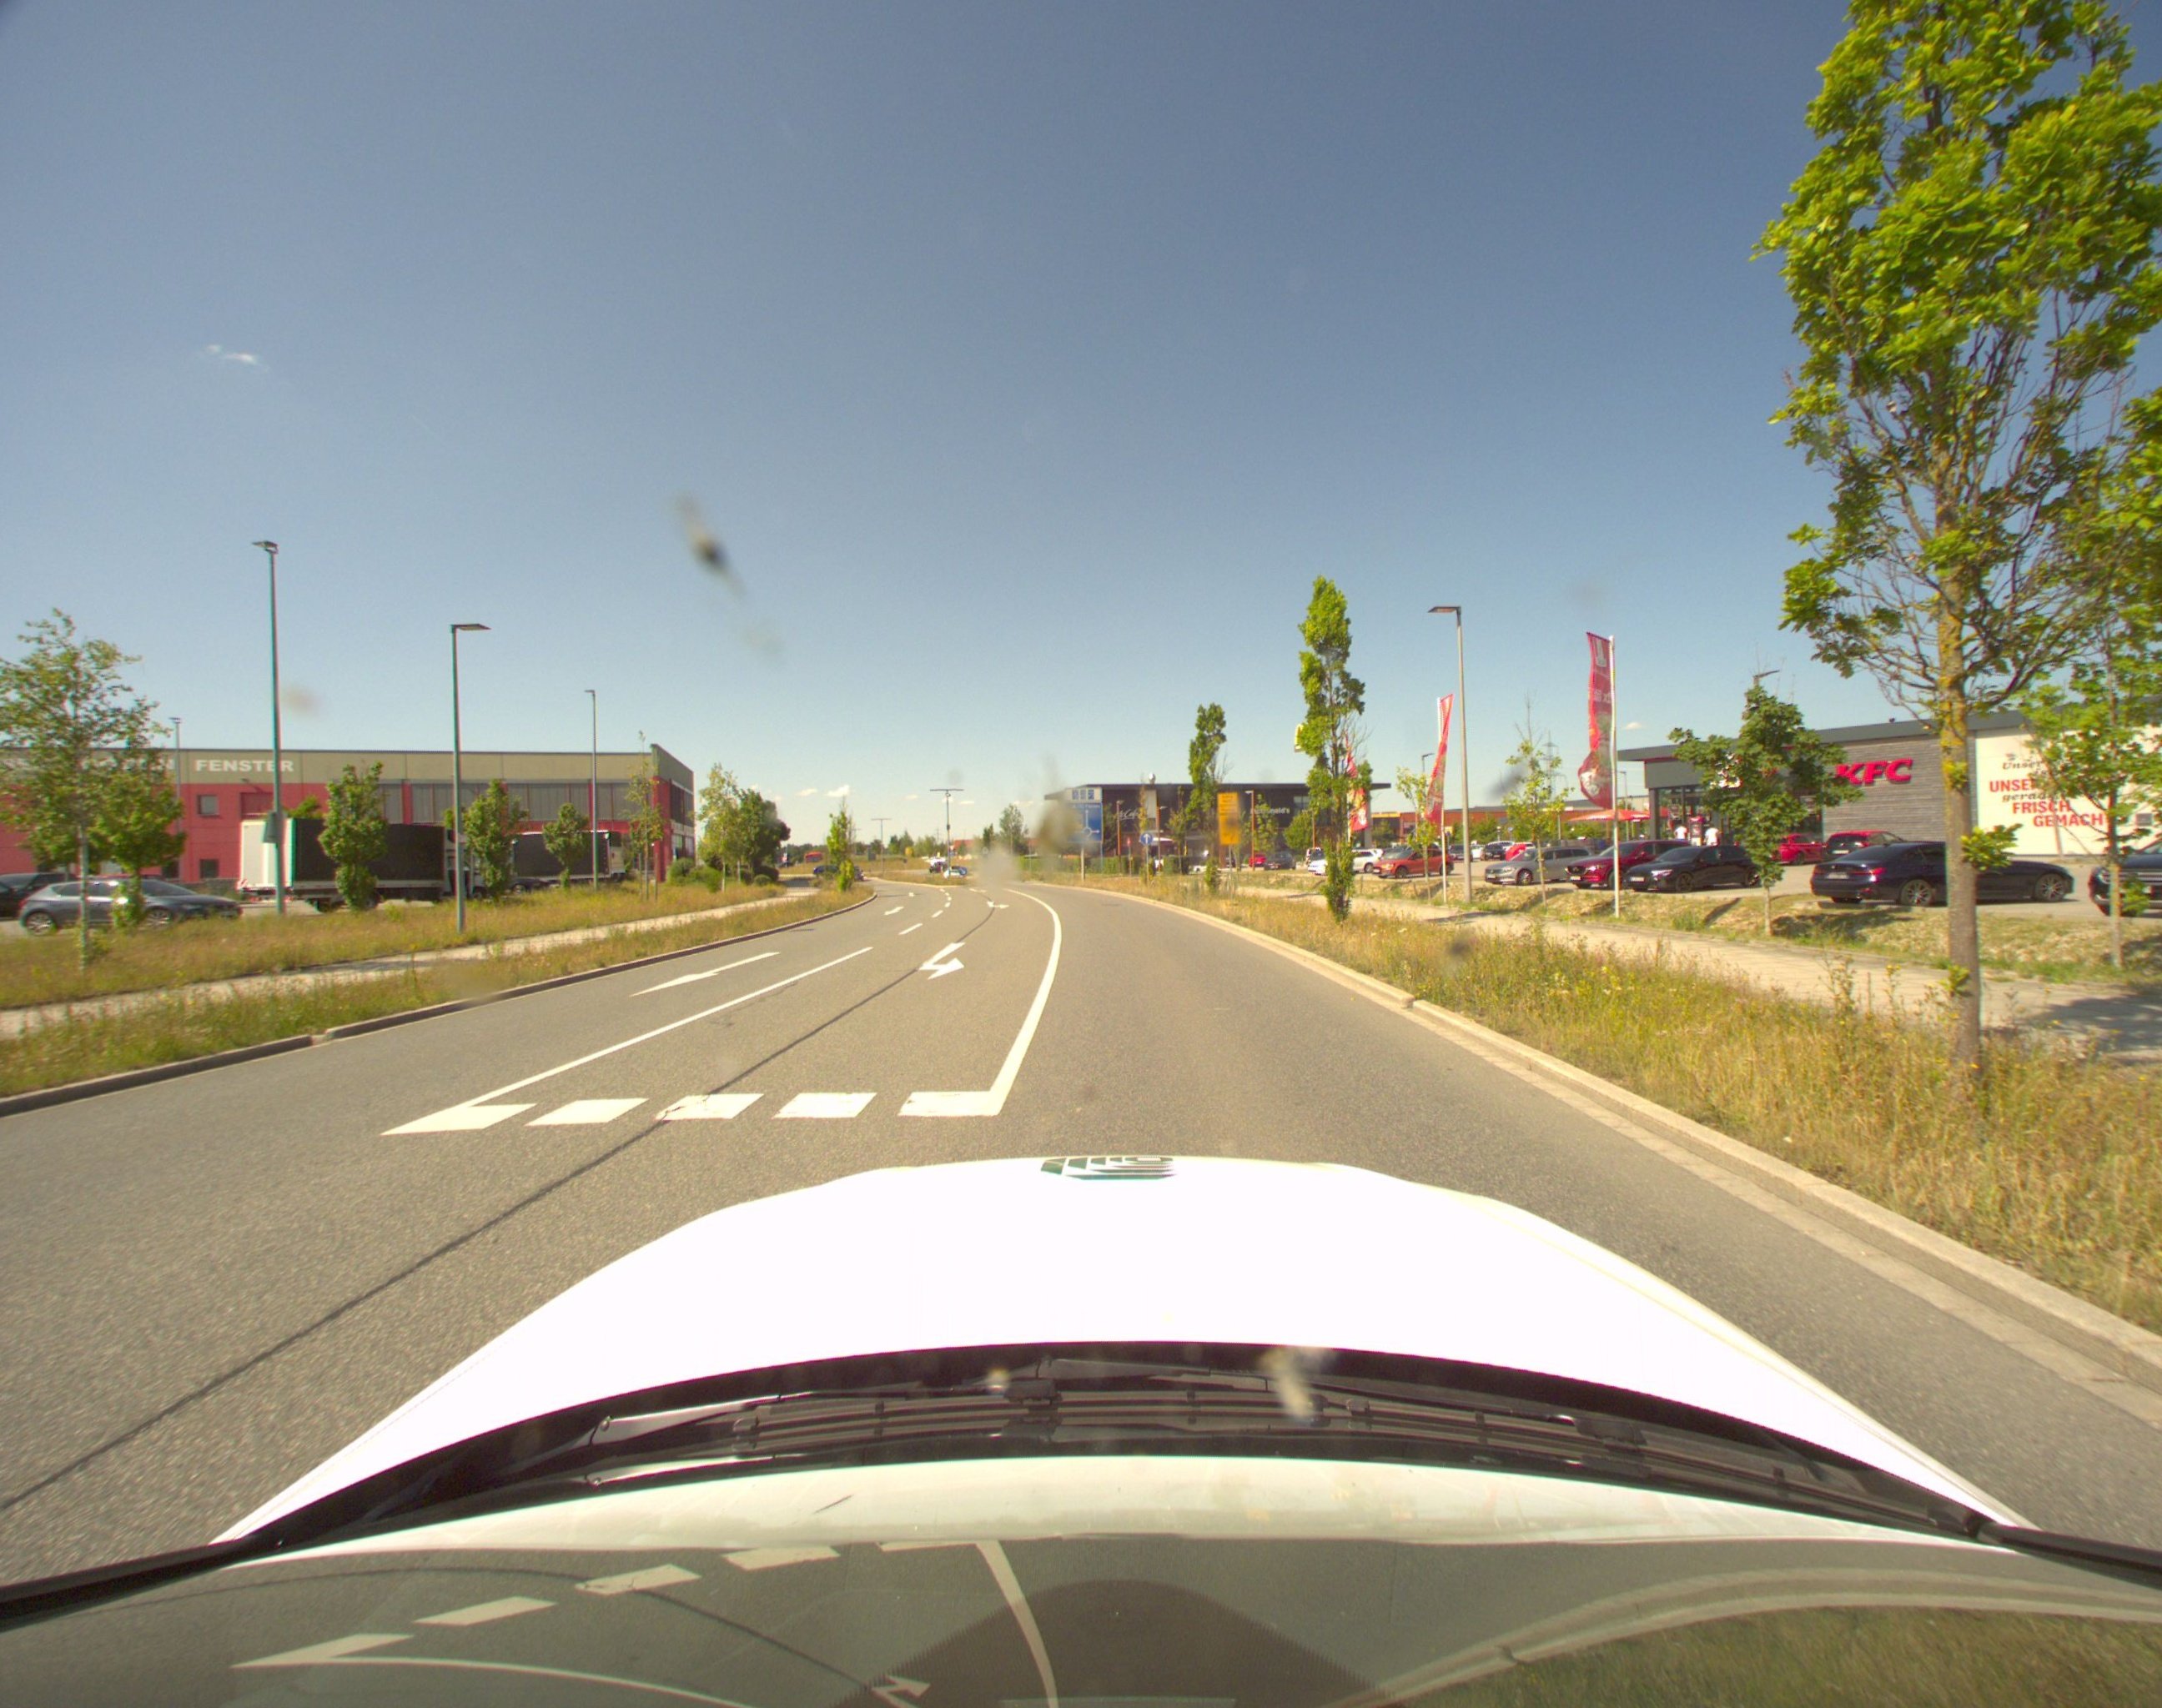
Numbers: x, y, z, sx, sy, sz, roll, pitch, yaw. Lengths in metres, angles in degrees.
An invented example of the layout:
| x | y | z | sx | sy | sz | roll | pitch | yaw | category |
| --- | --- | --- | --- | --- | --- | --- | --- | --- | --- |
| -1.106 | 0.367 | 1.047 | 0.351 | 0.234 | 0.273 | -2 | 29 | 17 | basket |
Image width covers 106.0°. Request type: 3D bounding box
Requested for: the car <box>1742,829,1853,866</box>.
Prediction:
| x | y | z | sx | sy | sz | roll | pitch | yaw | category |
| --- | --- | --- | --- | --- | --- | --- | --- | --- | --- |
| 32.787 | -0.307 | 37.274 | 4.571 | 1.431 | 1.856 | -3 | 0 | -20 | car |

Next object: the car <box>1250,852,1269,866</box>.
| x | y | z | sx | sy | sz | roll | pitch | yaw | category |
| --- | --- | --- | --- | --- | --- | --- | --- | --- | --- |
| 18.761 | 0.494 | 85.775 | 1.781 | 1.434 | 4.013 | -2 | 0 | 11 | car |

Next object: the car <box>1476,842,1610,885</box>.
| x | y | z | sx | sy | sz | roll | pitch | yaw | category |
| --- | --- | --- | --- | --- | --- | --- | --- | --- | --- |
| 18.846 | 0.354 | 33.289 | 4.554 | 1.490 | 1.863 | -3 | 0 | -9 | car |

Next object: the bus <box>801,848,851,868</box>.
| x | y | z | sx | sy | sz | roll | pitch | yaw | category |
| --- | --- | --- | --- | --- | --- | --- | --- | --- | --- |
| -45.067 | 0.631 | 144.404 | 2.768 | 3.078 | 12.245 | -2 | 2 | 12 | bus |

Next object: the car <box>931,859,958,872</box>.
| x | y | z | sx | sy | sz | roll | pitch | yaw | category |
| --- | --- | --- | --- | --- | --- | --- | --- | --- | --- |
| -22.821 | 1.891 | 136.119 | 3.969 | 2.014 | 1.836 | -2 | -1 | 4 | car |

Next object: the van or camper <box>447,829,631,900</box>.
| x | y | z | sx | sy | sz | roll | pitch | yaw | category |
| --- | --- | --- | --- | --- | --- | --- | --- | --- | --- |
| -28.851 | 0.535 | 43.694 | 7.703 | 3.468 | 2.543 | -2 | -1 | -14 | van or camper |

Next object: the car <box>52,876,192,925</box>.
| x | y | z | sx | sy | sz | roll | pitch | yaw | category |
| --- | --- | --- | --- | --- | --- | --- | --- | --- | --- |
| -39.609 | 1.860 | 33.810 | 1.838 | 1.773 | 4.351 | -2 | 0 | -20 | car |

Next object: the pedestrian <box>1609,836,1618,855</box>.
| x | y | z | sx | sy | sz | roll | pitch | yaw | category |
| --- | --- | --- | --- | --- | --- | --- | --- | --- | --- |
| 35.400 | -0.537 | 54.100 | 0.381 | 1.240 | 0.290 | -2 | -1 | -21 | pedestrian |

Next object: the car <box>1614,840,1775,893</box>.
| x | y | z | sx | sy | sz | roll | pitch | yaw | category |
| --- | --- | --- | --- | --- | --- | --- | --- | --- | --- |
| 19.639 | 0.371 | 26.116 | 4.156 | 1.449 | 1.784 | -3 | 0 | -11 | car |

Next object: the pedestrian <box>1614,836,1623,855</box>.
| x | y | z | sx | sy | sz | roll | pitch | yaw | category |
| --- | --- | --- | --- | --- | --- | --- | --- | --- | --- |
| 35.502 | -0.541 | 53.824 | 0.381 | 1.240 | 0.290 | -2 | -1 | -21 | pedestrian |

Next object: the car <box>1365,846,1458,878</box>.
| x | y | z | sx | sy | sz | roll | pitch | yaw | category |
| --- | --- | --- | --- | --- | --- | --- | --- | --- | --- |
| 17.497 | 0.416 | 43.171 | 4.208 | 1.490 | 1.861 | -2 | 0 | -13 | car |

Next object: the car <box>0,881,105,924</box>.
| x | y | z | sx | sy | sz | roll | pitch | yaw | category |
| --- | --- | --- | --- | --- | --- | --- | --- | --- | --- |
| -42.365 | 1.942 | 32.890 | 1.838 | 1.562 | 4.351 | -2 | 0 | -20 | car |

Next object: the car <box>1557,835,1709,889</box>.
| x | y | z | sx | sy | sz | roll | pitch | yaw | category |
| --- | --- | --- | --- | --- | --- | --- | --- | --- | --- |
| 19.338 | 0.264 | 28.637 | 4.147 | 1.665 | 1.865 | -3 | 0 | -5 | car |

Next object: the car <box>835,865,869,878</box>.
| x | y | z | sx | sy | sz | roll | pitch | yaw | category |
| --- | --- | --- | --- | --- | --- | --- | --- | --- | --- |
| -29.625 | 2.238 | 105.504 | 3.769 | 1.517 | 1.775 | -2 | -1 | 4 | car |

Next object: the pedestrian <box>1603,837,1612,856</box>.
| x | y | z | sx | sy | sz | roll | pitch | yaw | category |
| --- | --- | --- | --- | --- | --- | --- | --- | --- | --- |
| 34.717 | -0.522 | 53.681 | 0.381 | 1.240 | 0.290 | -2 | -1 | -21 | pedestrian |

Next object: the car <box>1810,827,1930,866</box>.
| x | y | z | sx | sy | sz | roll | pitch | yaw | category |
| --- | --- | --- | --- | --- | --- | --- | --- | --- | --- |
| 33.764 | -0.342 | 34.845 | 4.571 | 1.431 | 1.856 | -3 | 0 | -20 | car |

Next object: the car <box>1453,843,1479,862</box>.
| x | y | z | sx | sy | sz | roll | pitch | yaw | category |
| --- | --- | --- | --- | --- | --- | --- | --- | --- | --- |
| 31.521 | -0.151 | 66.751 | 1.769 | 1.451 | 4.192 | -2 | 0 | 24 | car |

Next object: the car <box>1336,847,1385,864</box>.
| x | y | z | sx | sy | sz | roll | pitch | yaw | category |
| --- | --- | --- | --- | --- | --- | --- | --- | --- | --- |
| 25.421 | 0.115 | 74.100 | 3.950 | 1.373 | 1.809 | -2 | 0 | 27 | car |

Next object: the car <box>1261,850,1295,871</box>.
| x | y | z | sx | sy | sz | roll | pitch | yaw | category |
| --- | --- | --- | --- | --- | --- | --- | --- | --- | --- |
| 14.768 | 0.458 | 60.981 | 1.682 | 1.462 | 4.192 | -2 | 0 | 24 | car |

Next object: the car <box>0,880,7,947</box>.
| x | y | z | sx | sy | sz | roll | pitch | yaw | category |
| --- | --- | --- | --- | --- | --- | --- | --- | --- | --- |
| -25.668 | 1.359 | 16.671 | 4.567 | 1.458 | 1.835 | -2 | -1 | -4 | car |

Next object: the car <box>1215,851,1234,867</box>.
| x | y | z | sx | sy | sz | roll | pitch | yaw | category |
| --- | --- | --- | --- | --- | --- | --- | --- | --- | --- |
| 14.944 | 0.518 | 84.982 | 1.781 | 1.604 | 4.013 | -2 | 0 | 11 | car |

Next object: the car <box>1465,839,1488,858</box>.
| x | y | z | sx | sy | sz | roll | pitch | yaw | category |
| --- | --- | --- | --- | --- | --- | --- | --- | --- | --- |
| 38.726 | -0.529 | 79.779 | 1.769 | 1.757 | 4.192 | -2 | 0 | 24 | car |

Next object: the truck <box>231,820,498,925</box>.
| x | y | z | sx | sy | sz | roll | pitch | yaw | category |
| --- | --- | --- | --- | --- | --- | --- | --- | --- | --- |
| -26.578 | 0.626 | 30.847 | 2.300 | 3.464 | 7.524 | -2 | 0 | 15 | truck |

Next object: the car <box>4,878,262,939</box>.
| x | y | z | sx | sy | sz | roll | pitch | yaw | category |
| --- | --- | --- | --- | --- | --- | --- | --- | --- | --- |
| -25.454 | 1.420 | 22.025 | 4.415 | 1.383 | 1.972 | -2 | 0 | -4 | car |

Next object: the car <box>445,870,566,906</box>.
| x | y | z | sx | sy | sz | roll | pitch | yaw | category |
| --- | --- | --- | --- | --- | --- | --- | --- | --- | --- |
| -27.878 | 1.616 | 39.584 | 4.375 | 1.552 | 1.829 | -2 | -1 | -15 | car |

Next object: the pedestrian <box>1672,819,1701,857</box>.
| x | y | z | sx | sy | sz | roll | pitch | yaw | category |
| --- | --- | --- | --- | --- | --- | --- | --- | --- | --- |
| 33.192 | -0.879 | 44.649 | 0.915 | 2.014 | 0.886 | -2 | -1 | -16 | pedestrian |

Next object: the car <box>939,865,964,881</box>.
| x | y | z | sx | sy | sz | roll | pitch | yaw | category |
| --- | --- | --- | --- | --- | --- | --- | --- | --- | --- |
| -12.180 | 1.779 | 76.224 | 1.622 | 1.434 | 3.767 | -2 | 0 | -20 | car |

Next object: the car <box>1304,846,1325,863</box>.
| x | y | z | sx | sy | sz | roll | pitch | yaw | category |
| --- | --- | --- | --- | --- | --- | --- | --- | --- | --- |
| 25.414 | 0.030 | 88.534 | 1.777 | 1.702 | 4.022 | -2 | 0 | 22 | car |

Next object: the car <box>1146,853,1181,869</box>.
| x | y | z | sx | sy | sz | roll | pitch | yaw | category |
| --- | --- | --- | --- | --- | --- | --- | --- | --- | --- |
| 7.901 | 0.723 | 78.558 | 1.798 | 1.434 | 3.973 | -2 | 0 | -19 | car |

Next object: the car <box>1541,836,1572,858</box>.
| x | y | z | sx | sy | sz | roll | pitch | yaw | category |
| --- | --- | --- | --- | --- | --- | --- | --- | --- | --- |
| 40.800 | -0.631 | 70.011 | 1.769 | 1.757 | 4.192 | -2 | 0 | 24 | car |

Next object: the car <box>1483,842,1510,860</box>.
| x | y | z | sx | sy | sz | roll | pitch | yaw | category |
| --- | --- | --- | --- | --- | --- | --- | --- | --- | --- |
| 34.865 | -0.267 | 68.413 | 1.769 | 1.451 | 4.192 | -2 | 0 | 24 | car |

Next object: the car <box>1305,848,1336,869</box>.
| x | y | z | sx | sy | sz | roll | pitch | yaw | category |
| --- | --- | --- | --- | --- | --- | --- | --- | --- | --- |
| 18.353 | 0.317 | 62.309 | 1.769 | 1.462 | 4.192 | -2 | 0 | 24 | car |

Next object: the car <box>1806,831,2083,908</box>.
| x | y | z | sx | sy | sz | roll | pitch | yaw | category |
| --- | --- | --- | --- | --- | --- | --- | --- | --- | --- |
| 19.481 | 0.326 | 18.507 | 4.392 | 1.449 | 1.791 | -3 | 0 | 0 | car |

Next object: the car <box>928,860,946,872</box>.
| x | y | z | sx | sy | sz | roll | pitch | yaw | category |
| --- | --- | --- | --- | --- | --- | --- | --- | --- | --- |
| -18.922 | 1.574 | 107.395 | 1.611 | 1.434 | 3.793 | -2 | 0 | 1 | car |

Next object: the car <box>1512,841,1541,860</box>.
| x | y | z | sx | sy | sz | roll | pitch | yaw | category |
| --- | --- | --- | --- | --- | --- | --- | --- | --- | --- |
| 38.011 | -0.299 | 69.524 | 1.769 | 1.451 | 4.192 | -2 | 0 | 24 | car |

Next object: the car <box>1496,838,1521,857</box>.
| x | y | z | sx | sy | sz | roll | pitch | yaw | category |
| --- | --- | --- | --- | --- | --- | --- | --- | --- | --- |
| 42.449 | -0.614 | 80.931 | 1.769 | 1.757 | 4.192 | -2 | 0 | 24 | car |

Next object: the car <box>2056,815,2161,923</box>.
| x | y | z | sx | sy | sz | roll | pitch | yaw | category |
| --- | --- | --- | --- | --- | --- | --- | --- | --- | --- |
| 19.813 | 0.149 | 13.852 | 4.394 | 1.734 | 1.790 | -3 | 0 | -2 | car |

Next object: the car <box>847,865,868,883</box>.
| x | y | z | sx | sy | sz | roll | pitch | yaw | category |
| --- | --- | --- | --- | --- | --- | --- | --- | --- | --- |
| -25.158 | 2.208 | 91.572 | 1.958 | 1.794 | 4.397 | -3 | 0 | -20 | car |

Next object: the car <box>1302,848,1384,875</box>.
| x | y | z | sx | sy | sz | roll | pitch | yaw | category |
| --- | --- | --- | --- | --- | --- | --- | --- | --- | --- |
| 16.245 | 0.443 | 50.563 | 4.530 | 1.490 | 1.861 | -2 | 0 | -13 | car |

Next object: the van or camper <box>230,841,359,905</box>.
| x | y | z | sx | sy | sz | roll | pitch | yaw | category |
| --- | --- | --- | --- | --- | --- | --- | --- | --- | --- |
| -44.434 | 1.038 | 46.321 | 2.437 | 3.271 | 7.188 | -2 | 0 | -19 | van or camper |
